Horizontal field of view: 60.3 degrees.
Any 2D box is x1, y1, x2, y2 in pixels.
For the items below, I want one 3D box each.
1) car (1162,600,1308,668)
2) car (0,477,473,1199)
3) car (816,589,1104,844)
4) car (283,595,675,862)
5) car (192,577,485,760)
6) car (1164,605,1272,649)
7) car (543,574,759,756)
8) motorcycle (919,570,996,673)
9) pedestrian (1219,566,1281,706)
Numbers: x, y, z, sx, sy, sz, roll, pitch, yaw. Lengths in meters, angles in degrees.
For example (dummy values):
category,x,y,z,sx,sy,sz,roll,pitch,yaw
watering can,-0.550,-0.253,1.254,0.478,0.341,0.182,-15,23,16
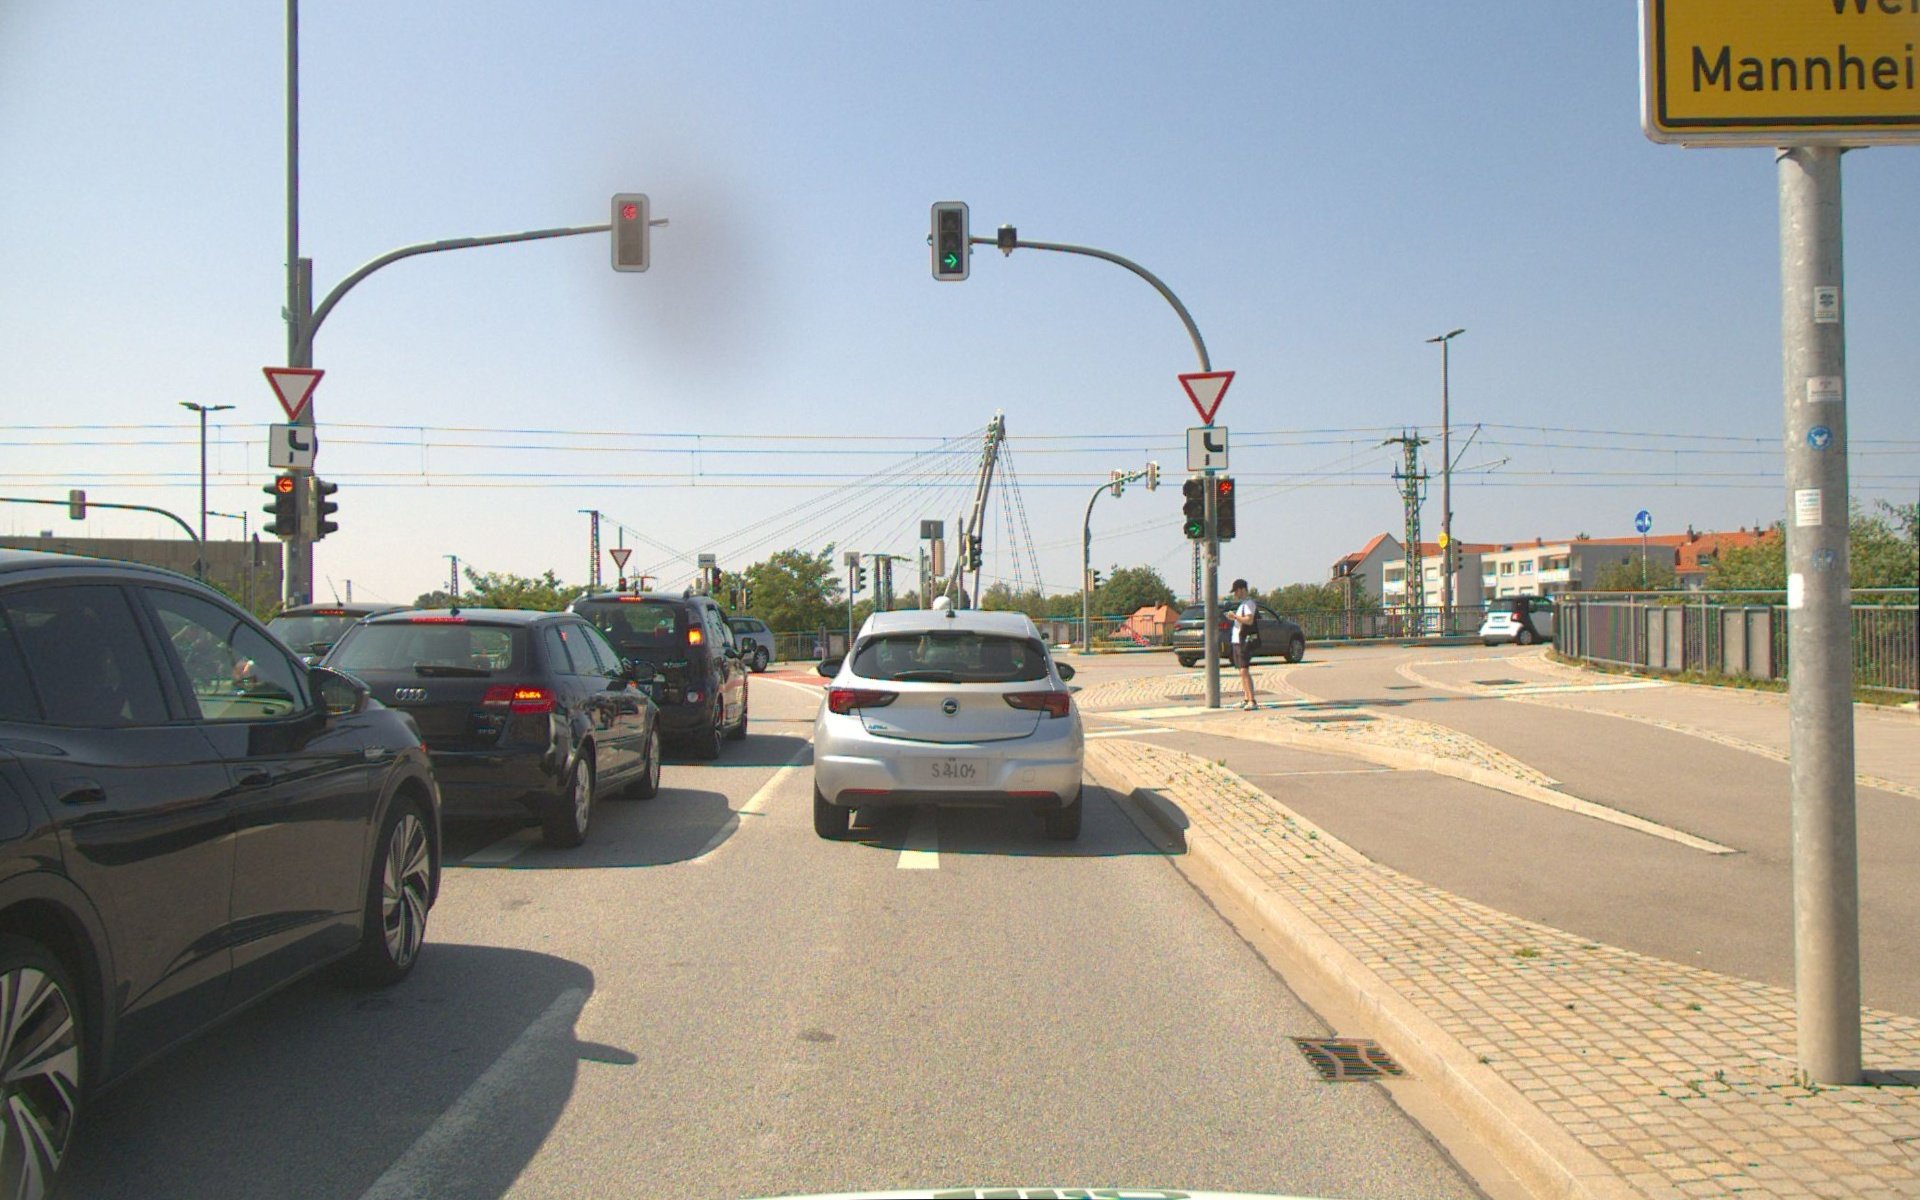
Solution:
category,x,y,z,sx,sy,sz,roll,pitch,yaw
car,6.967,0.835,41.702,1.700,1.591,3.973,1,0,44
car,-2.968,0.568,4.833,1.765,1.670,4.365,1,-1,0
car,-0.078,0.727,11.952,1.708,1.504,3.998,1,-1,-3
car,-3.014,0.743,11.141,1.543,1.459,3.785,1,-1,-1
car,-5.976,0.623,16.366,1.565,1.574,3.760,1,-1,-2
car,9.442,0.996,60.577,3.574,1.512,1.679,2,-1,-23
car,-3.072,0.625,17.123,1.616,1.644,3.818,1,-1,-2
motorcycle,-0.052,0.286,19.466,0.492,1.031,2.169,-7,-3,-8
pedestrian,3.978,0.490,22.709,0.634,1.868,0.797,-2,-1,-2
